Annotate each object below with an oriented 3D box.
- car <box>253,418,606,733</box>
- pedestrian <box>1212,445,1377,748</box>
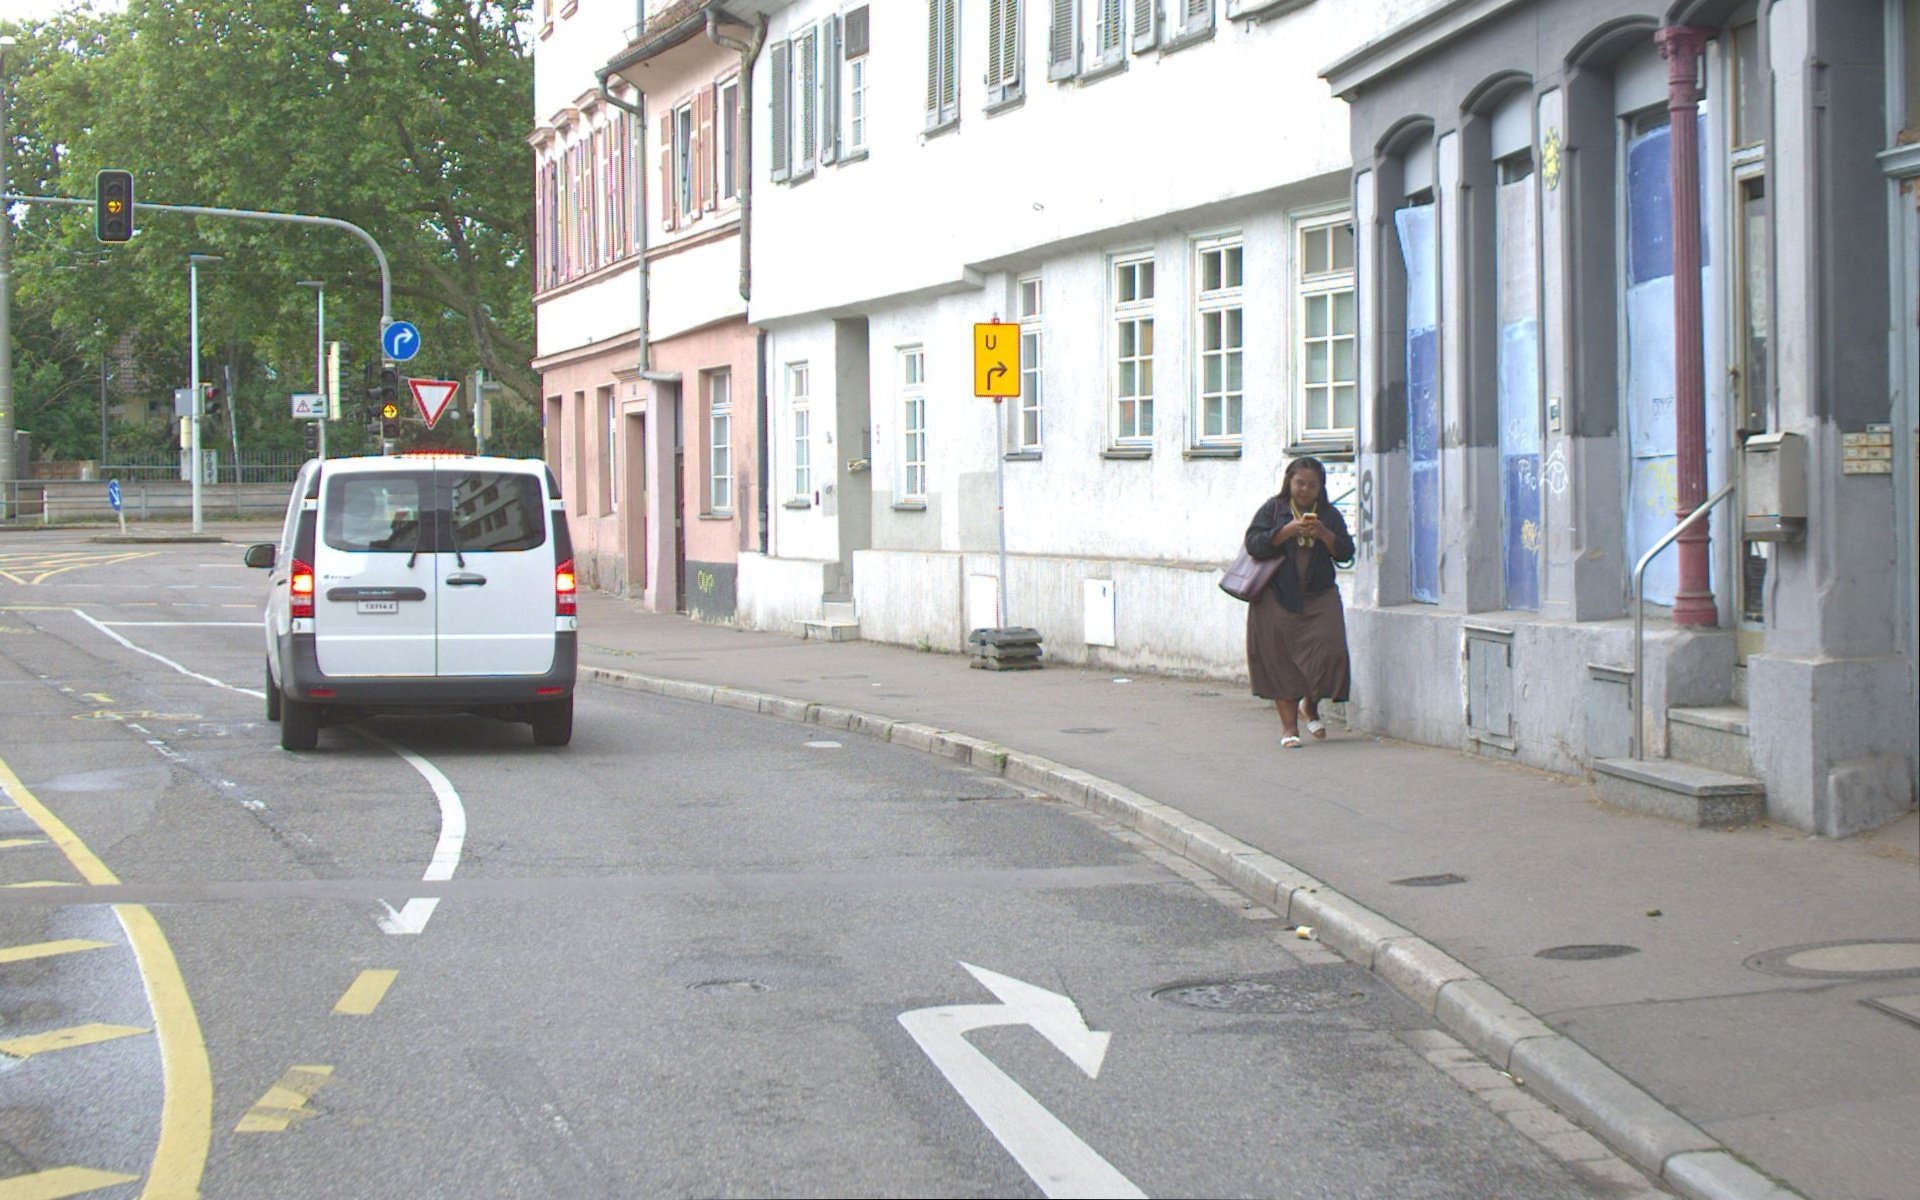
[{"bbox_3d":[-3.704,-0.194,23.388,1.993,1.916,4.250,1,1,-14],"label":"car"},{"bbox_3d":[1.898,-0.036,19.599,0.755,1.661,0.809,-3,3,-3],"label":"pedestrian"}]
